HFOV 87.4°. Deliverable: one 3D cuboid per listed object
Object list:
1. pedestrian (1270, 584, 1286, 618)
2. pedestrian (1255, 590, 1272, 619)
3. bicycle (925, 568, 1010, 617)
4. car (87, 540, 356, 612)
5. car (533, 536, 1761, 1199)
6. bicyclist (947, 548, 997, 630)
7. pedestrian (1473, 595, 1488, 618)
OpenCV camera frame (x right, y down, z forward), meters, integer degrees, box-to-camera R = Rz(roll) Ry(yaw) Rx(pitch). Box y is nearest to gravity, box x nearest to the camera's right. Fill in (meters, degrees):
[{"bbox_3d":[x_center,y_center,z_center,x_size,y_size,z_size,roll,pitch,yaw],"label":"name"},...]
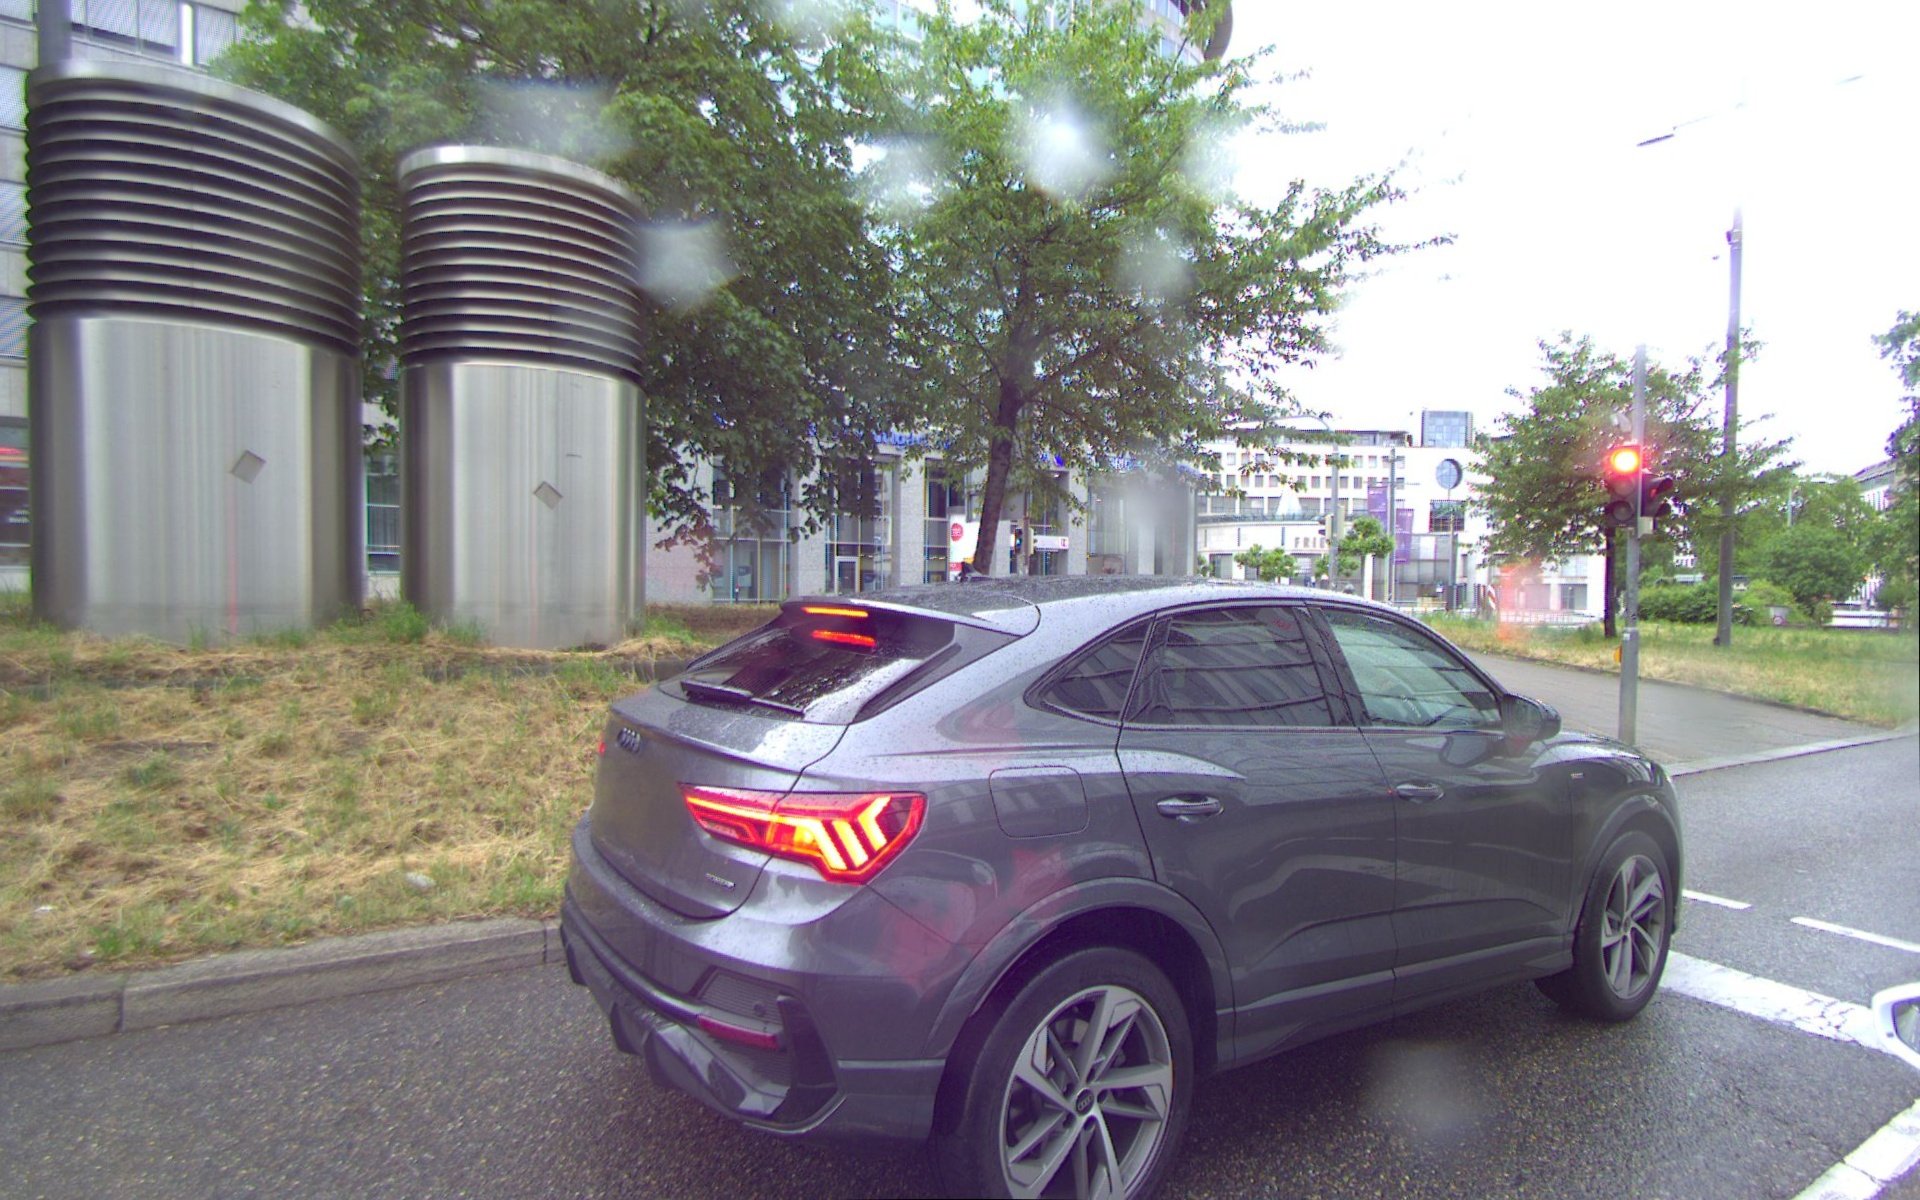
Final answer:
[{"bbox_3d":[16.906,0.083,53.363,0.611,1.786,0.723,-1,-2,35],"label":"pedestrian"},{"bbox_3d":[16.325,0.238,53.994,0.718,1.536,0.689,-1,-2,35],"label":"pedestrian"},{"bbox_3d":[0.201,-0.217,26.760,2.091,1.161,0.763,3,4,20],"label":"bicycle"},{"bbox_3d":[-15.525,-0.466,21.362,4.435,1.343,1.878,1,1,-37],"label":"car"},{"bbox_3d":[0.882,0.698,3.599,4.206,1.638,1.837,0,2,-33],"label":"car"},{"bbox_3d":[0.315,-0.312,26.710,1.064,2.111,0.763,3,4,20],"label":"bicyclist"},{"bbox_3d":[45.973,0.581,88.719,0.731,2.041,0.785,1,2,-29],"label":"pedestrian"}]
